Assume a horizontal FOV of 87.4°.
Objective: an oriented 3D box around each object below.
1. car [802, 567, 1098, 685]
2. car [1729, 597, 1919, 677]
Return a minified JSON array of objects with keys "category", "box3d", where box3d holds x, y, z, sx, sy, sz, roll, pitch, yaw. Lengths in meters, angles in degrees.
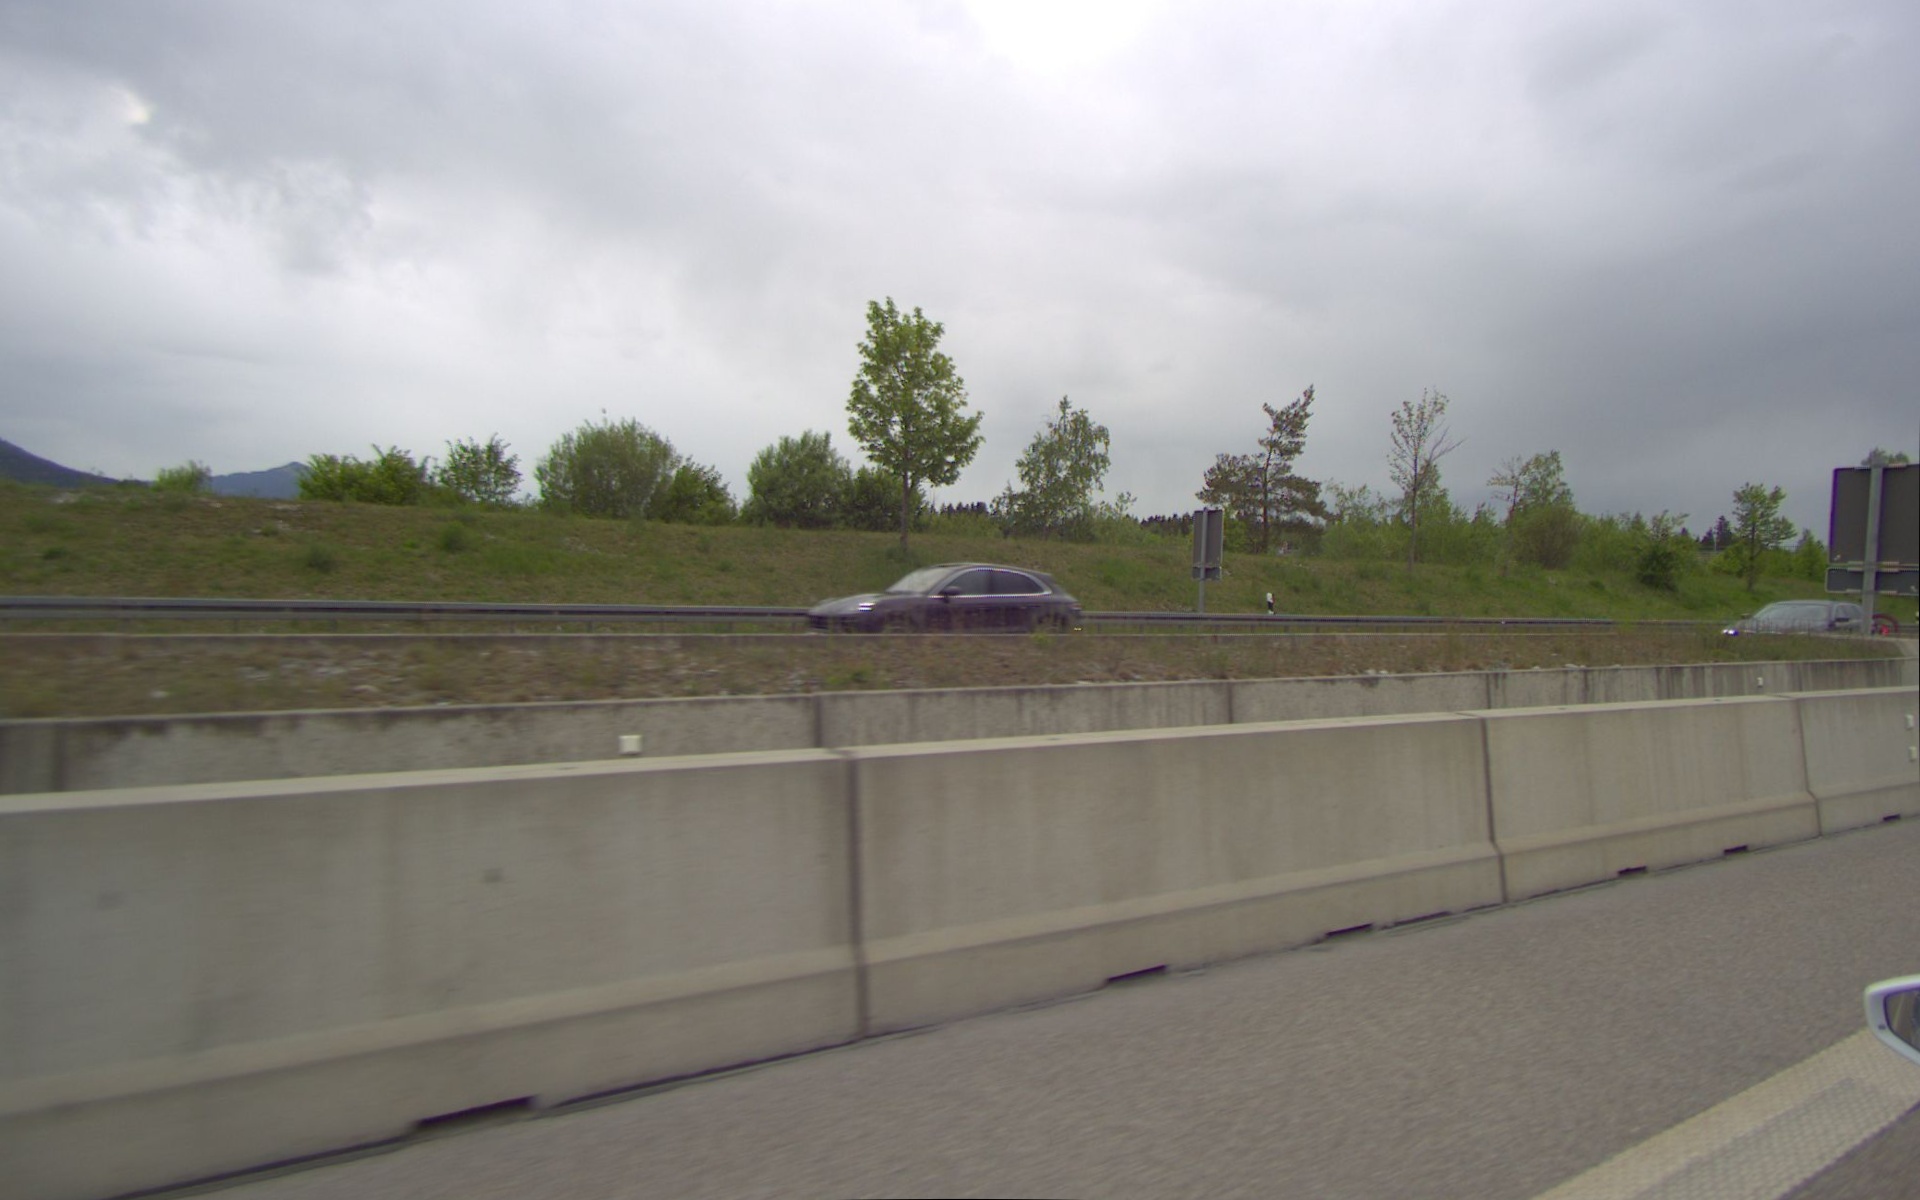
[{"category":"car","box3d":[-0.110,0.384,15.790,4.355,1.629,1.759,1,1,-31]},{"category":"car","box3d":[21.384,0.882,24.748,5.685,1.760,1.868,1,1,-31]}]
